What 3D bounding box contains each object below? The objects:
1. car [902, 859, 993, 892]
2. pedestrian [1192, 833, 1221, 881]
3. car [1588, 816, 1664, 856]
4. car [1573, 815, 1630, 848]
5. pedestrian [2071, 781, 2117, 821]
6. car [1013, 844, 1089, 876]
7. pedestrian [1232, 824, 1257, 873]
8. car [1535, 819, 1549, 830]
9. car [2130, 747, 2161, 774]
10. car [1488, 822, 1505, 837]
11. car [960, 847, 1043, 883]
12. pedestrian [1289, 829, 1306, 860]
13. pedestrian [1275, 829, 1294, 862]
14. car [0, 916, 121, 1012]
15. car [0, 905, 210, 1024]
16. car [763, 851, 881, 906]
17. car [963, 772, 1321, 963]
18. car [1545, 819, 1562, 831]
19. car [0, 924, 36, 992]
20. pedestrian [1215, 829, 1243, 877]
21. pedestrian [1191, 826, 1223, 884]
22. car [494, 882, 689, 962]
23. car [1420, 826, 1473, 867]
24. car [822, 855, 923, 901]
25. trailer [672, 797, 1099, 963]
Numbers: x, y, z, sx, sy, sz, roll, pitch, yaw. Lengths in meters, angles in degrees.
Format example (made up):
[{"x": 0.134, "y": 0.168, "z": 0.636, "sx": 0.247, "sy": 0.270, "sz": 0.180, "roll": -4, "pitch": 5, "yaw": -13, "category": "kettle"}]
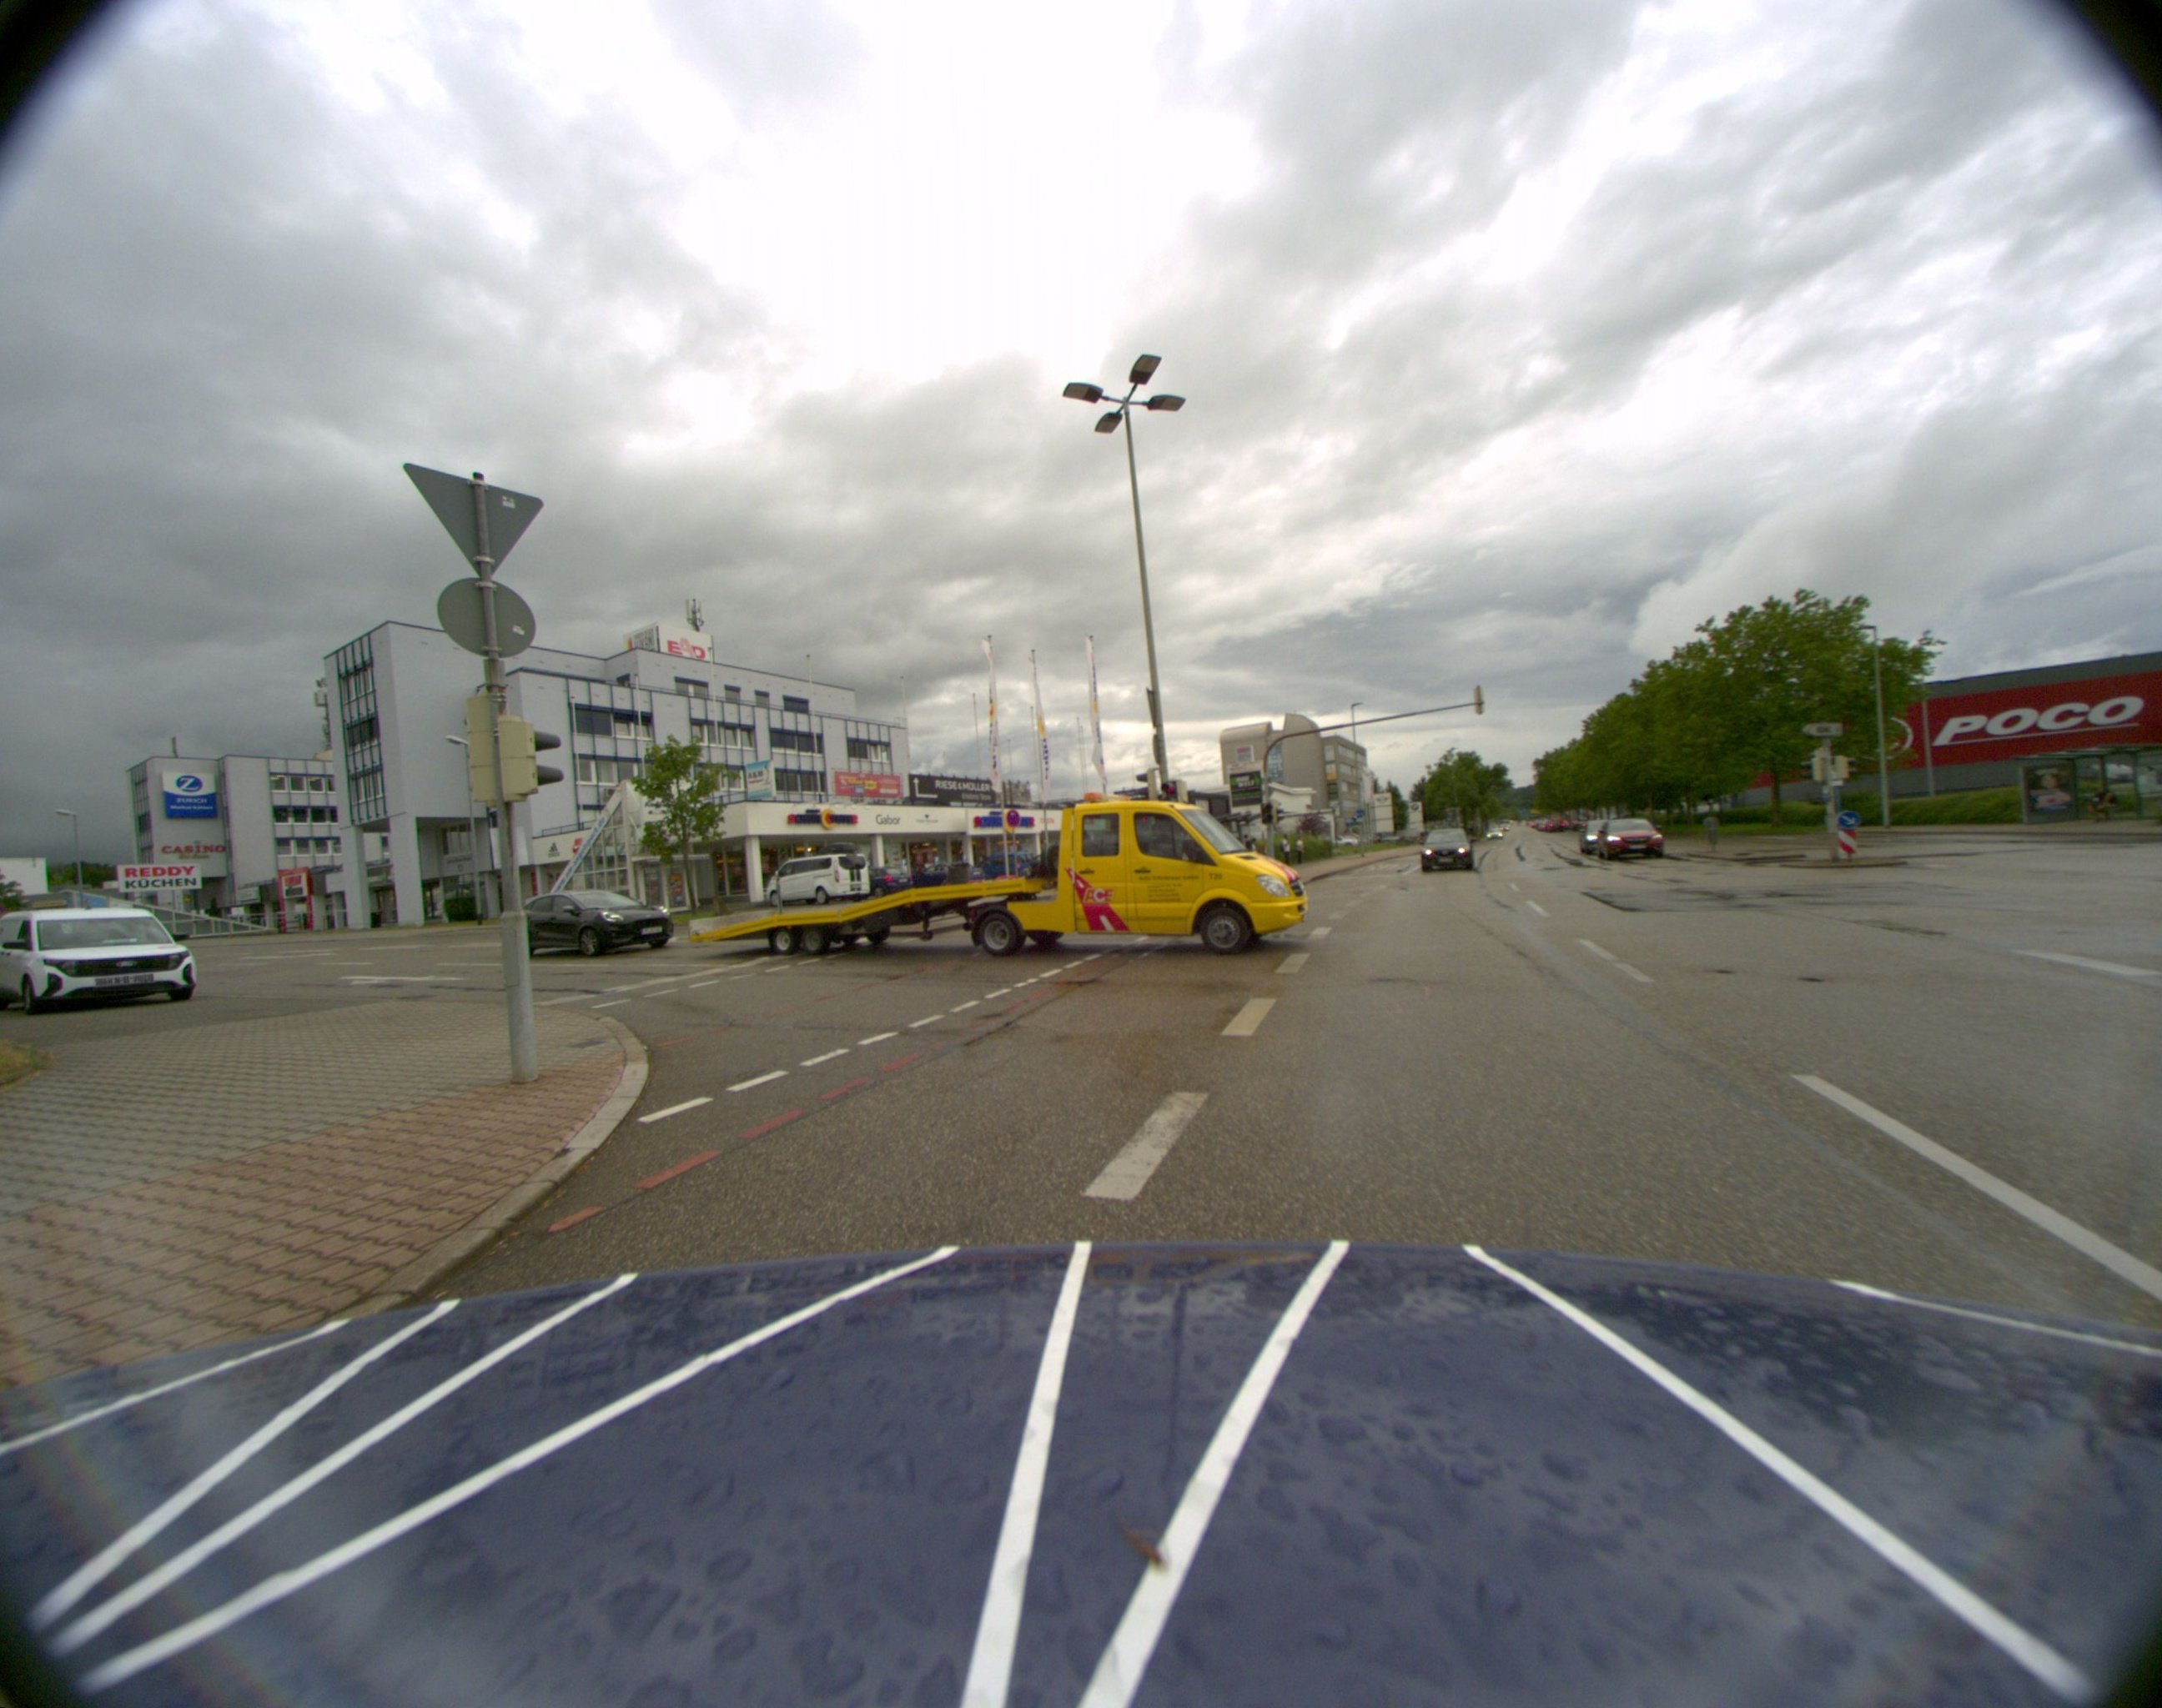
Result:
[{"x": -6.841, "y": 1.090, "z": 38.931, "sx": 4.364, "sy": 1.385, "sz": 1.826, "roll": -4, "pitch": 0, "yaw": 31, "category": "car"}, {"x": 4.805, "y": 0.112, "z": 29.111, "sx": 0.816, "sy": 1.765, "sz": 0.696, "roll": -4, "pitch": 2, "yaw": -12, "category": "pedestrian"}, {"x": 21.764, "y": -0.732, "z": 30.506, "sx": 1.714, "sy": 1.456, "sz": 4.006, "roll": -2, "pitch": 1, "yaw": 25, "category": "car"}, {"x": 24.707, "y": -1.091, "z": 36.185, "sx": 1.694, "sy": 1.389, "sz": 3.708, "roll": -4, "pitch": 1, "yaw": 26, "category": "car"}, {"x": 38.019, "y": -1.994, "z": 28.524, "sx": 0.779, "sy": 1.423, "sz": 0.642, "roll": -3, "pitch": 1, "yaw": 25, "category": "pedestrian"}, {"x": -1.928, "y": 0.385, "z": 48.024, "sx": 4.364, "sy": 1.753, "sz": 1.900, "roll": -4, "pitch": 0, "yaw": 31, "category": "car"}, {"x": 6.902, "y": -0.220, "z": 32.079, "sx": 0.740, "sy": 2.002, "sz": 0.698, "roll": -3, "pitch": 0, "yaw": 32, "category": "pedestrian"}, {"x": 77.891, "y": -4.973, "z": 128.453, "sx": 1.839, "sy": 1.579, "sz": 4.007, "roll": -4, "pitch": 0, "yaw": 28, "category": "car"}, {"x": 74.096, "y": -6.454, "z": 51.670, "sx": 1.693, "sy": 1.636, "sz": 3.969, "roll": -4, "pitch": 0, "yaw": 29, "category": "car"}, {"x": 50.798, "y": -2.945, "z": 92.928, "sx": 1.617, "sy": 1.718, "sz": 3.684, "roll": -3, "pitch": 0, "yaw": 27, "category": "car"}, {"x": -4.597, "y": 0.633, "z": 43.858, "sx": 4.364, "sy": 1.753, "sz": 1.900, "roll": -4, "pitch": 0, "yaw": 31, "category": "car"}, {"x": 12.256, "y": -0.551, "z": 42.999, "sx": 0.713, "sy": 1.701, "sz": 0.698, "roll": -3, "pitch": 0, "yaw": 32, "category": "pedestrian"}, {"x": 10.903, "y": -0.453, "z": 40.672, "sx": 0.699, "sy": 1.701, "sz": 0.698, "roll": -3, "pitch": 0, "yaw": 32, "category": "pedestrian"}, {"x": -22.417, "y": 2.301, "z": 16.061, "sx": 3.990, "sy": 1.698, "sz": 1.827, "roll": -4, "pitch": 0, "yaw": 27, "category": "car"}, {"x": -17.930, "y": 1.923, "z": 13.779, "sx": 4.239, "sy": 1.772, "sz": 1.802, "roll": -4, "pitch": -2, "yaw": 27, "category": "car"}, {"x": -10.978, "y": 1.061, "z": 32.106, "sx": 4.775, "sy": 2.002, "sz": 2.003, "roll": -4, "pitch": 0, "yaw": 32, "category": "car"}, {"x": 0.959, "y": 0.305, "z": 12.032, "sx": 5.004, "sy": 2.459, "sz": 2.250, "roll": -4, "pitch": 0, "yaw": 25, "category": "car"}, {"x": 68.653, "y": -4.234, "z": 110.476, "sx": 1.839, "sy": 1.579, "sz": 4.007, "roll": -4, "pitch": 0, "yaw": 28, "category": "car"}, {"x": -28.028, "y": 2.669, "z": 18.839, "sx": 3.990, "sy": 1.589, "sz": 1.827, "roll": -4, "pitch": 0, "yaw": 27, "category": "car"}, {"x": 5.847, "y": -0.033, "z": 30.034, "sx": 0.814, "sy": 1.846, "sz": 0.698, "roll": -2, "pitch": 3, "yaw": 32, "category": "pedestrian"}, {"x": 4.501, "y": 0.039, "z": 27.173, "sx": 0.816, "sy": 2.002, "sz": 0.696, "roll": -4, "pitch": 1, "yaw": -12, "category": "pedestrian"}, {"x": -11.542, "y": 1.604, "z": 17.942, "sx": 3.991, "sy": 1.532, "sz": 1.817, "roll": -4, "pitch": 2, "yaw": 23, "category": "car"}, {"x": 14.930, "y": -0.347, "z": 31.162, "sx": 1.751, "sy": 1.455, "sz": 4.006, "roll": -5, "pitch": 0, "yaw": 25, "category": "car"}, {"x": -9.629, "y": 1.106, "z": 35.006, "sx": 4.364, "sy": 1.809, "sz": 1.900, "roll": -4, "pitch": 0, "yaw": 31, "category": "car"}, {"x": -3.855, "y": 0.609, "z": 14.298, "sx": 7.953, "sy": 2.459, "sz": 2.314, "roll": -4, "pitch": 0, "yaw": 25, "category": "trailer"}]
